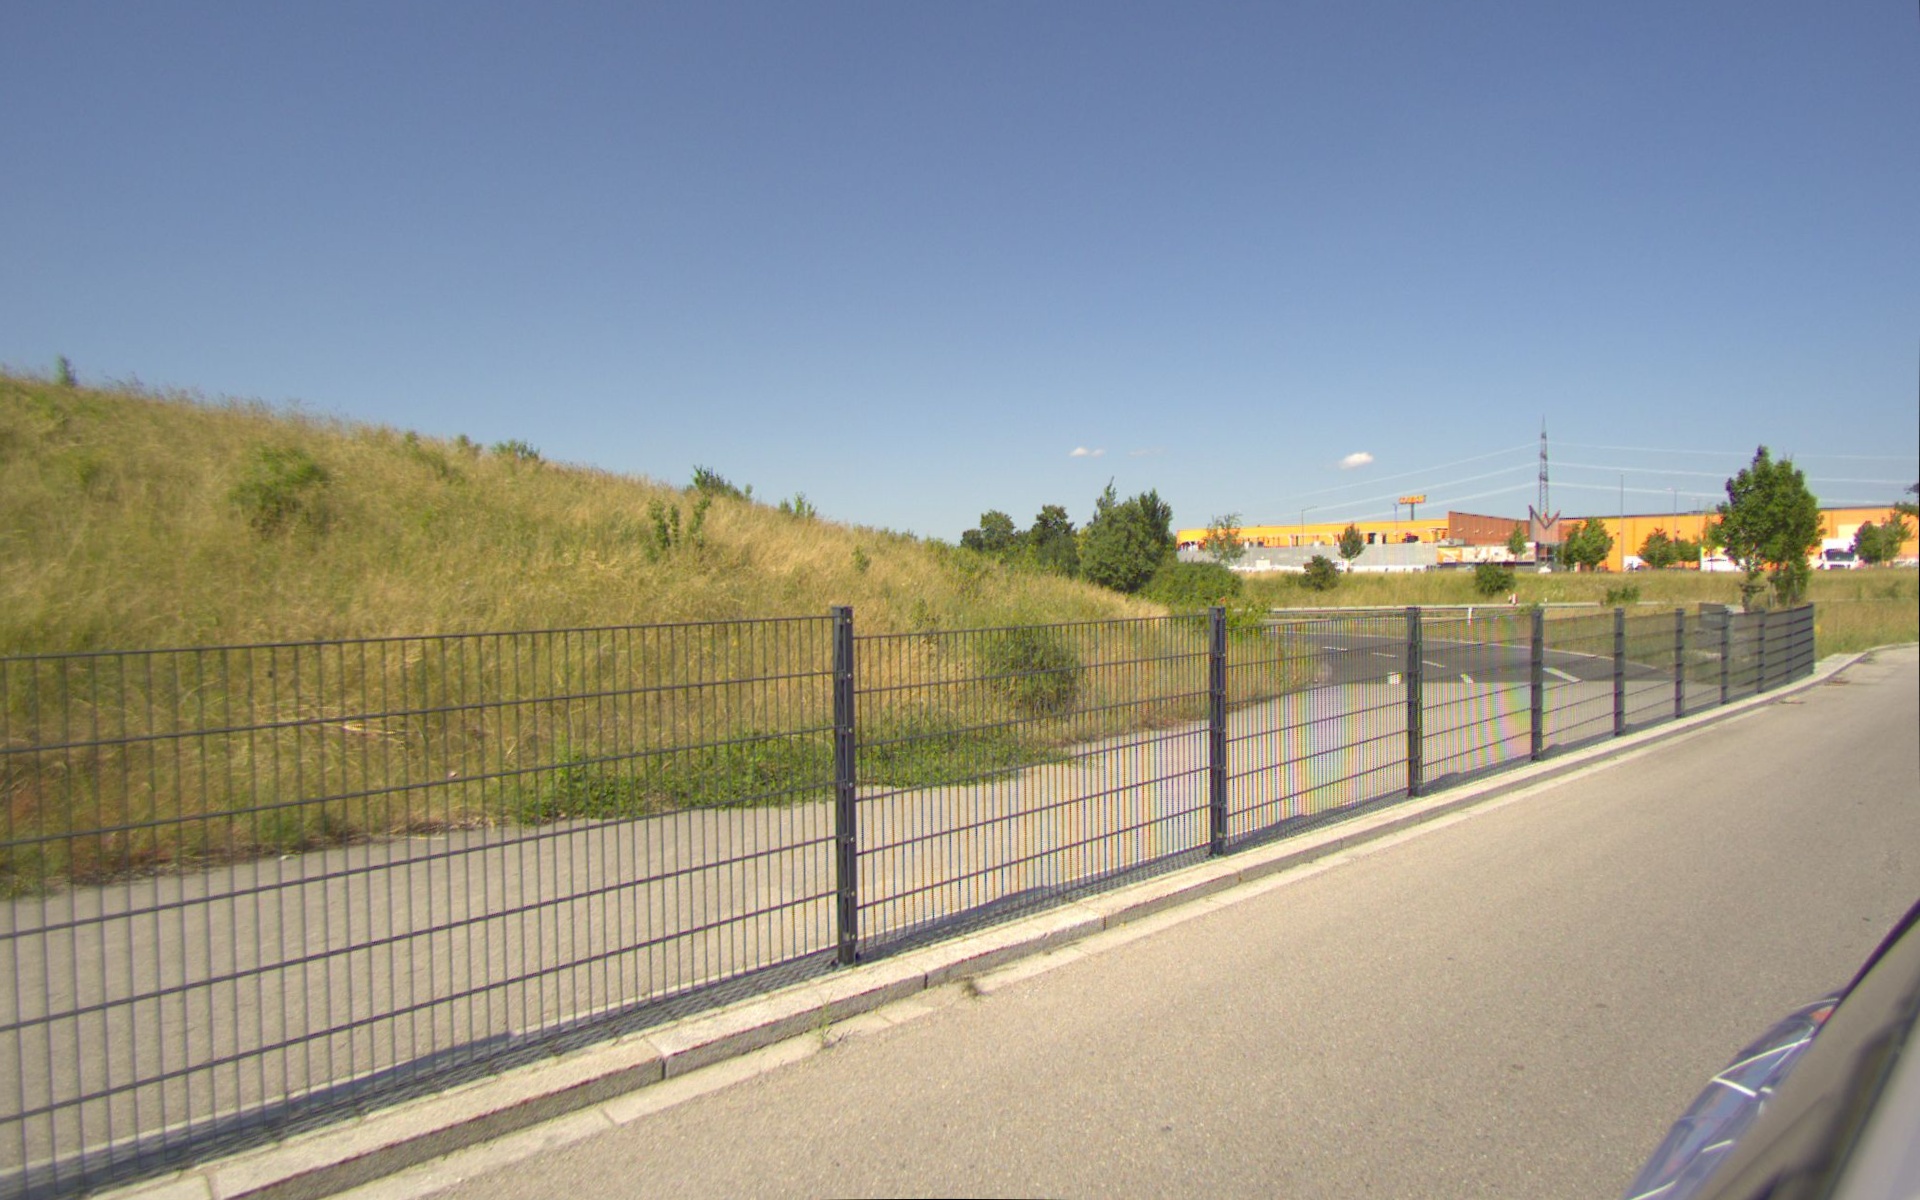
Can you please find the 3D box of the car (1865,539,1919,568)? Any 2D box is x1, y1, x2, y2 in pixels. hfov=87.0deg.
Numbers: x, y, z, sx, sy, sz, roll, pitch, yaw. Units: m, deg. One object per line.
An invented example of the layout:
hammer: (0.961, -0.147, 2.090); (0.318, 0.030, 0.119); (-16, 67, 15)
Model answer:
car: (71.514, -3.495, 76.508); (4.620, 2.039, 1.969); (0, 0, 43)

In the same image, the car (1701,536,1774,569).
car: (64.407, -3.910, 83.855); (4.620, 2.581, 1.969); (0, 0, 43)
